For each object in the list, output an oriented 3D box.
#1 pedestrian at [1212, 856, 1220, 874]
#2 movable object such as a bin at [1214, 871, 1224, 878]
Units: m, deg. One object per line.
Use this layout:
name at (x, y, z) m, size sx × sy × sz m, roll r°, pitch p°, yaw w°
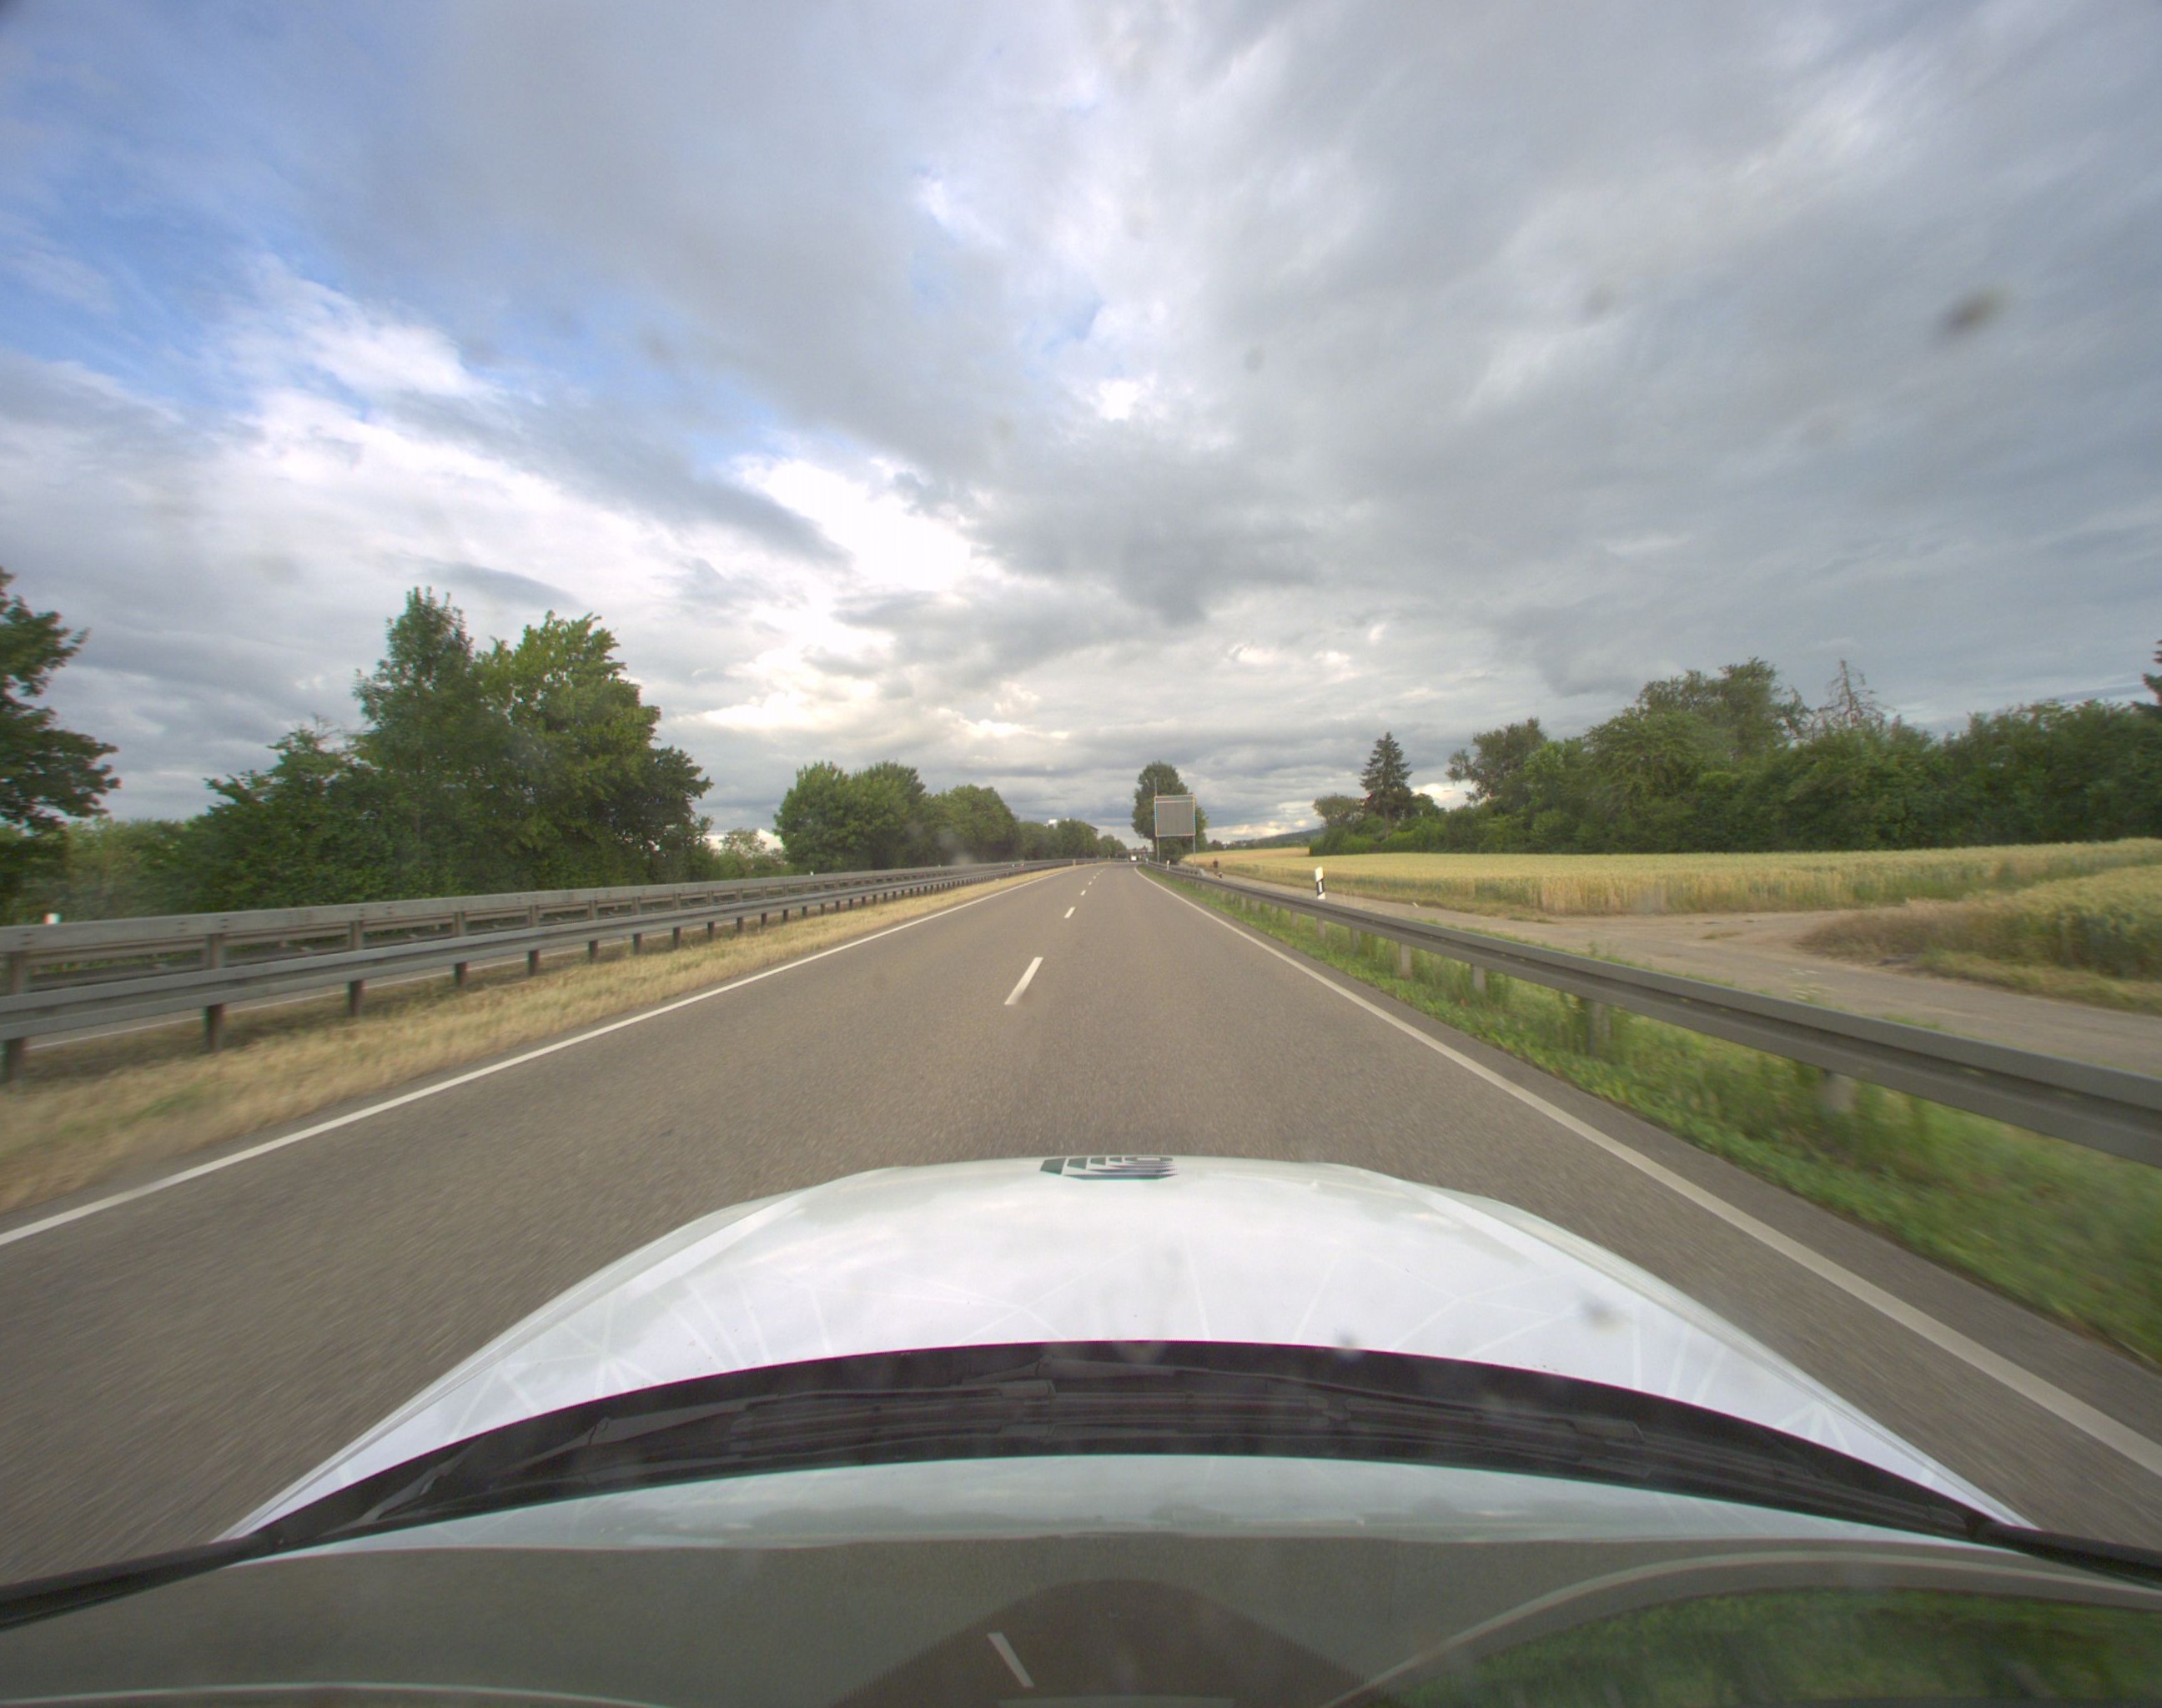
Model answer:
pedestrian at (13.646, 1.106, 82.331) m, size 0.768 × 1.868 × 0.940 m, roll 0°, pitch -1°, yaw 2°
movable object such as a bin at (12.188, 1.802, 71.946) m, size 0.729 × 0.645 × 1.236 m, roll 0°, pitch -1°, yaw 2°
